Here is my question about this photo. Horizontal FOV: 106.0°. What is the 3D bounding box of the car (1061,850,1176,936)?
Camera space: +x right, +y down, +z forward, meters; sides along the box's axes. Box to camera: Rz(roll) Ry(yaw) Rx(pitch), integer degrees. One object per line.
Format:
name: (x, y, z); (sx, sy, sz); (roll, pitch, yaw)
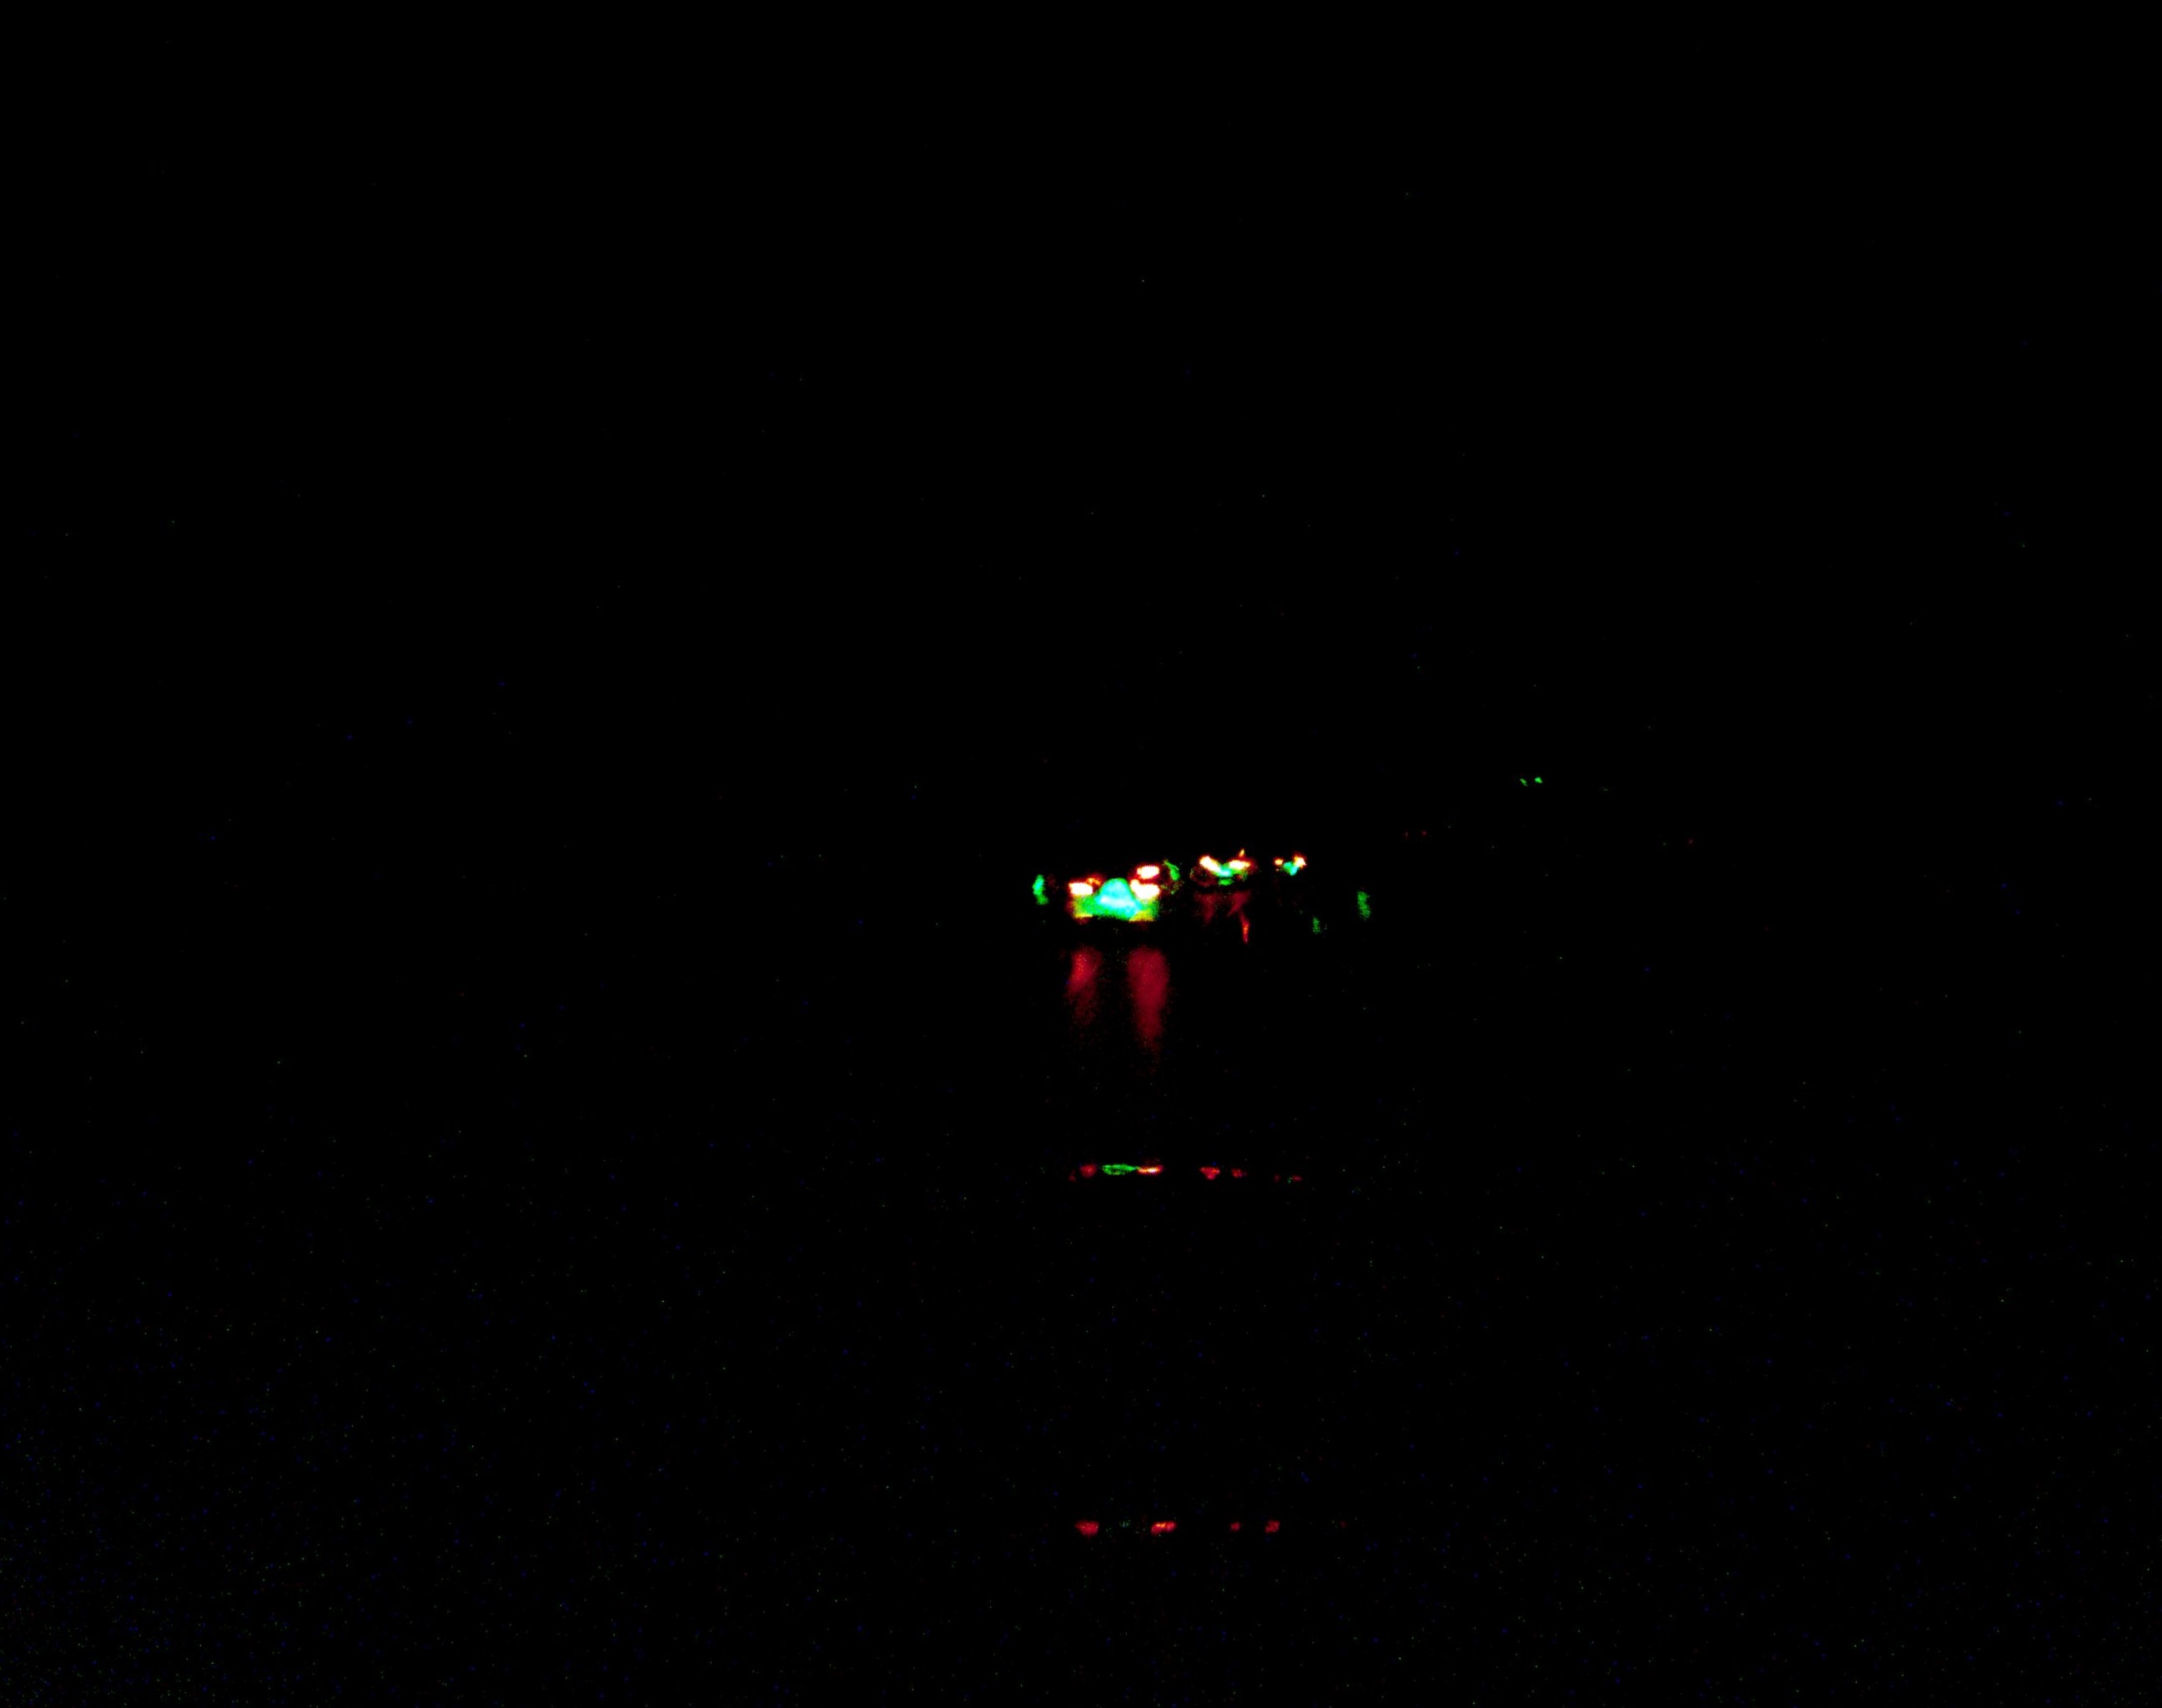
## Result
car: (0.879, 0.734, 16.527); (1.933, 1.491, 3.724); (-2, -1, 8)

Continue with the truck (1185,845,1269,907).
truck: (6.790, 0.915, 37.053); (3.047, 2.528, 7.196); (-1, -1, 15)

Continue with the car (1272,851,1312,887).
car: (12.040, 0.840, 46.286); (1.821, 1.948, 4.019); (-1, -1, 19)
